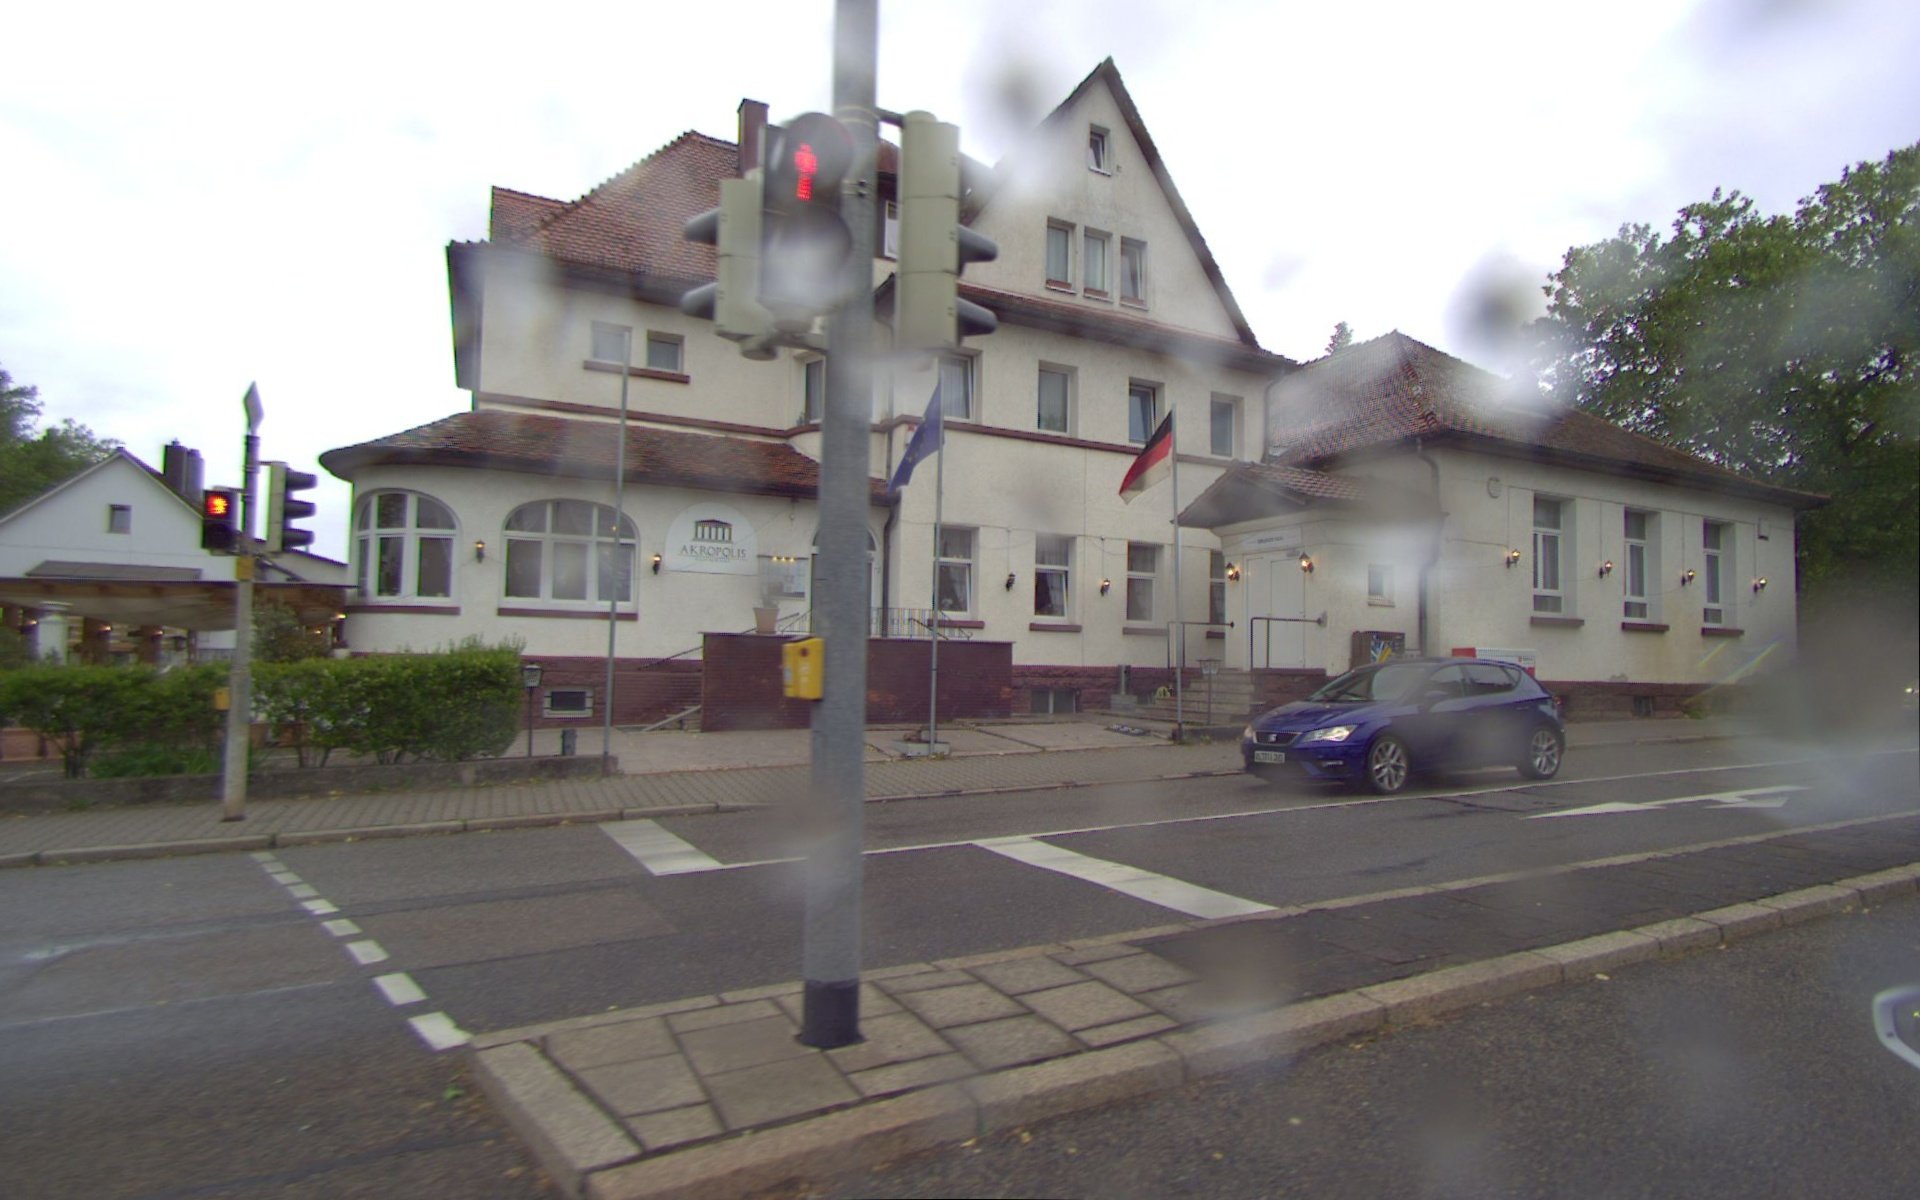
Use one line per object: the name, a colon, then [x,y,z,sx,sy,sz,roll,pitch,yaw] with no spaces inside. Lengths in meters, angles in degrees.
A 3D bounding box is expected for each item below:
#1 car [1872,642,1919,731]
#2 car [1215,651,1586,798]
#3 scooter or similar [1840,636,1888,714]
car: [20.370,1.677,19.939,3.947,1.706,1.988,1,-3,-26]
car: [5.181,1.363,11.784,4.051,1.438,1.762,1,-5,-26]
scooter or similar: [21.493,1.782,23.876,1.495,1.798,0.399,3,-3,-31]
